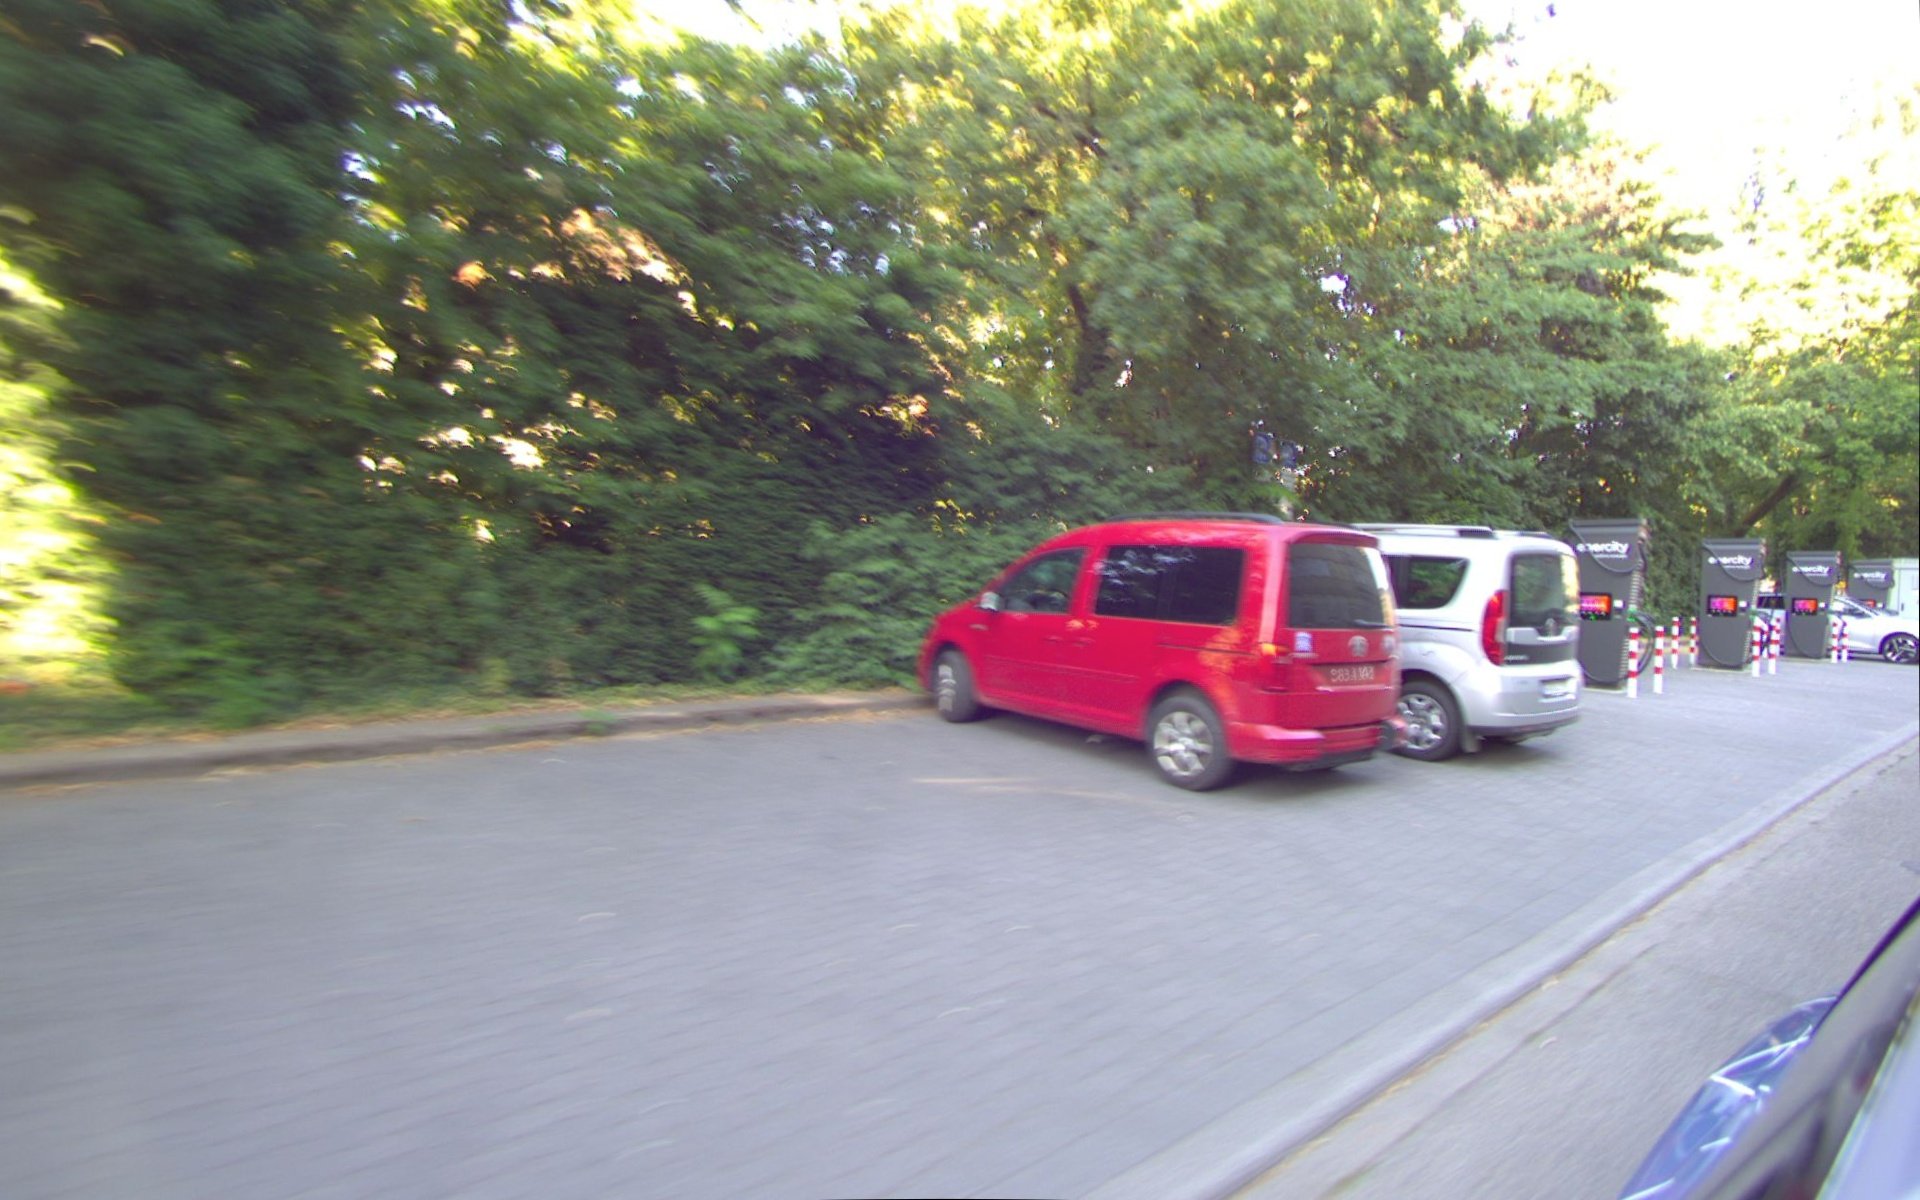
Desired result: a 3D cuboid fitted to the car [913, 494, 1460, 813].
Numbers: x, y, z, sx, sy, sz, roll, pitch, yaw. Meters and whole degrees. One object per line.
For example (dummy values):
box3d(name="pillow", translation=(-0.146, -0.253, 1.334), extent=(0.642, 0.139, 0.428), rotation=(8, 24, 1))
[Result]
box3d(name="car", translation=(1.532, 0.199, 8.151), extent=(1.883, 1.886, 3.986), rotation=(1, 3, -36))

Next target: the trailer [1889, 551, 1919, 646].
box3d(name="trailer", translation=(28.571, -0.029, 29.470), extent=(3.635, 2.673, 1.601), rotation=(1, 2, -38))

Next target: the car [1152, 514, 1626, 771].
box3d(name="car", translation=(3.787, 0.209, 9.452), extent=(1.750, 1.906, 3.613), rotation=(1, 3, -37))

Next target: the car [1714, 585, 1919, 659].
box3d(name="car", translation=(20.306, 0.466, 23.266), extent=(1.679, 1.484, 4.444), rotation=(1, 2, -38))
